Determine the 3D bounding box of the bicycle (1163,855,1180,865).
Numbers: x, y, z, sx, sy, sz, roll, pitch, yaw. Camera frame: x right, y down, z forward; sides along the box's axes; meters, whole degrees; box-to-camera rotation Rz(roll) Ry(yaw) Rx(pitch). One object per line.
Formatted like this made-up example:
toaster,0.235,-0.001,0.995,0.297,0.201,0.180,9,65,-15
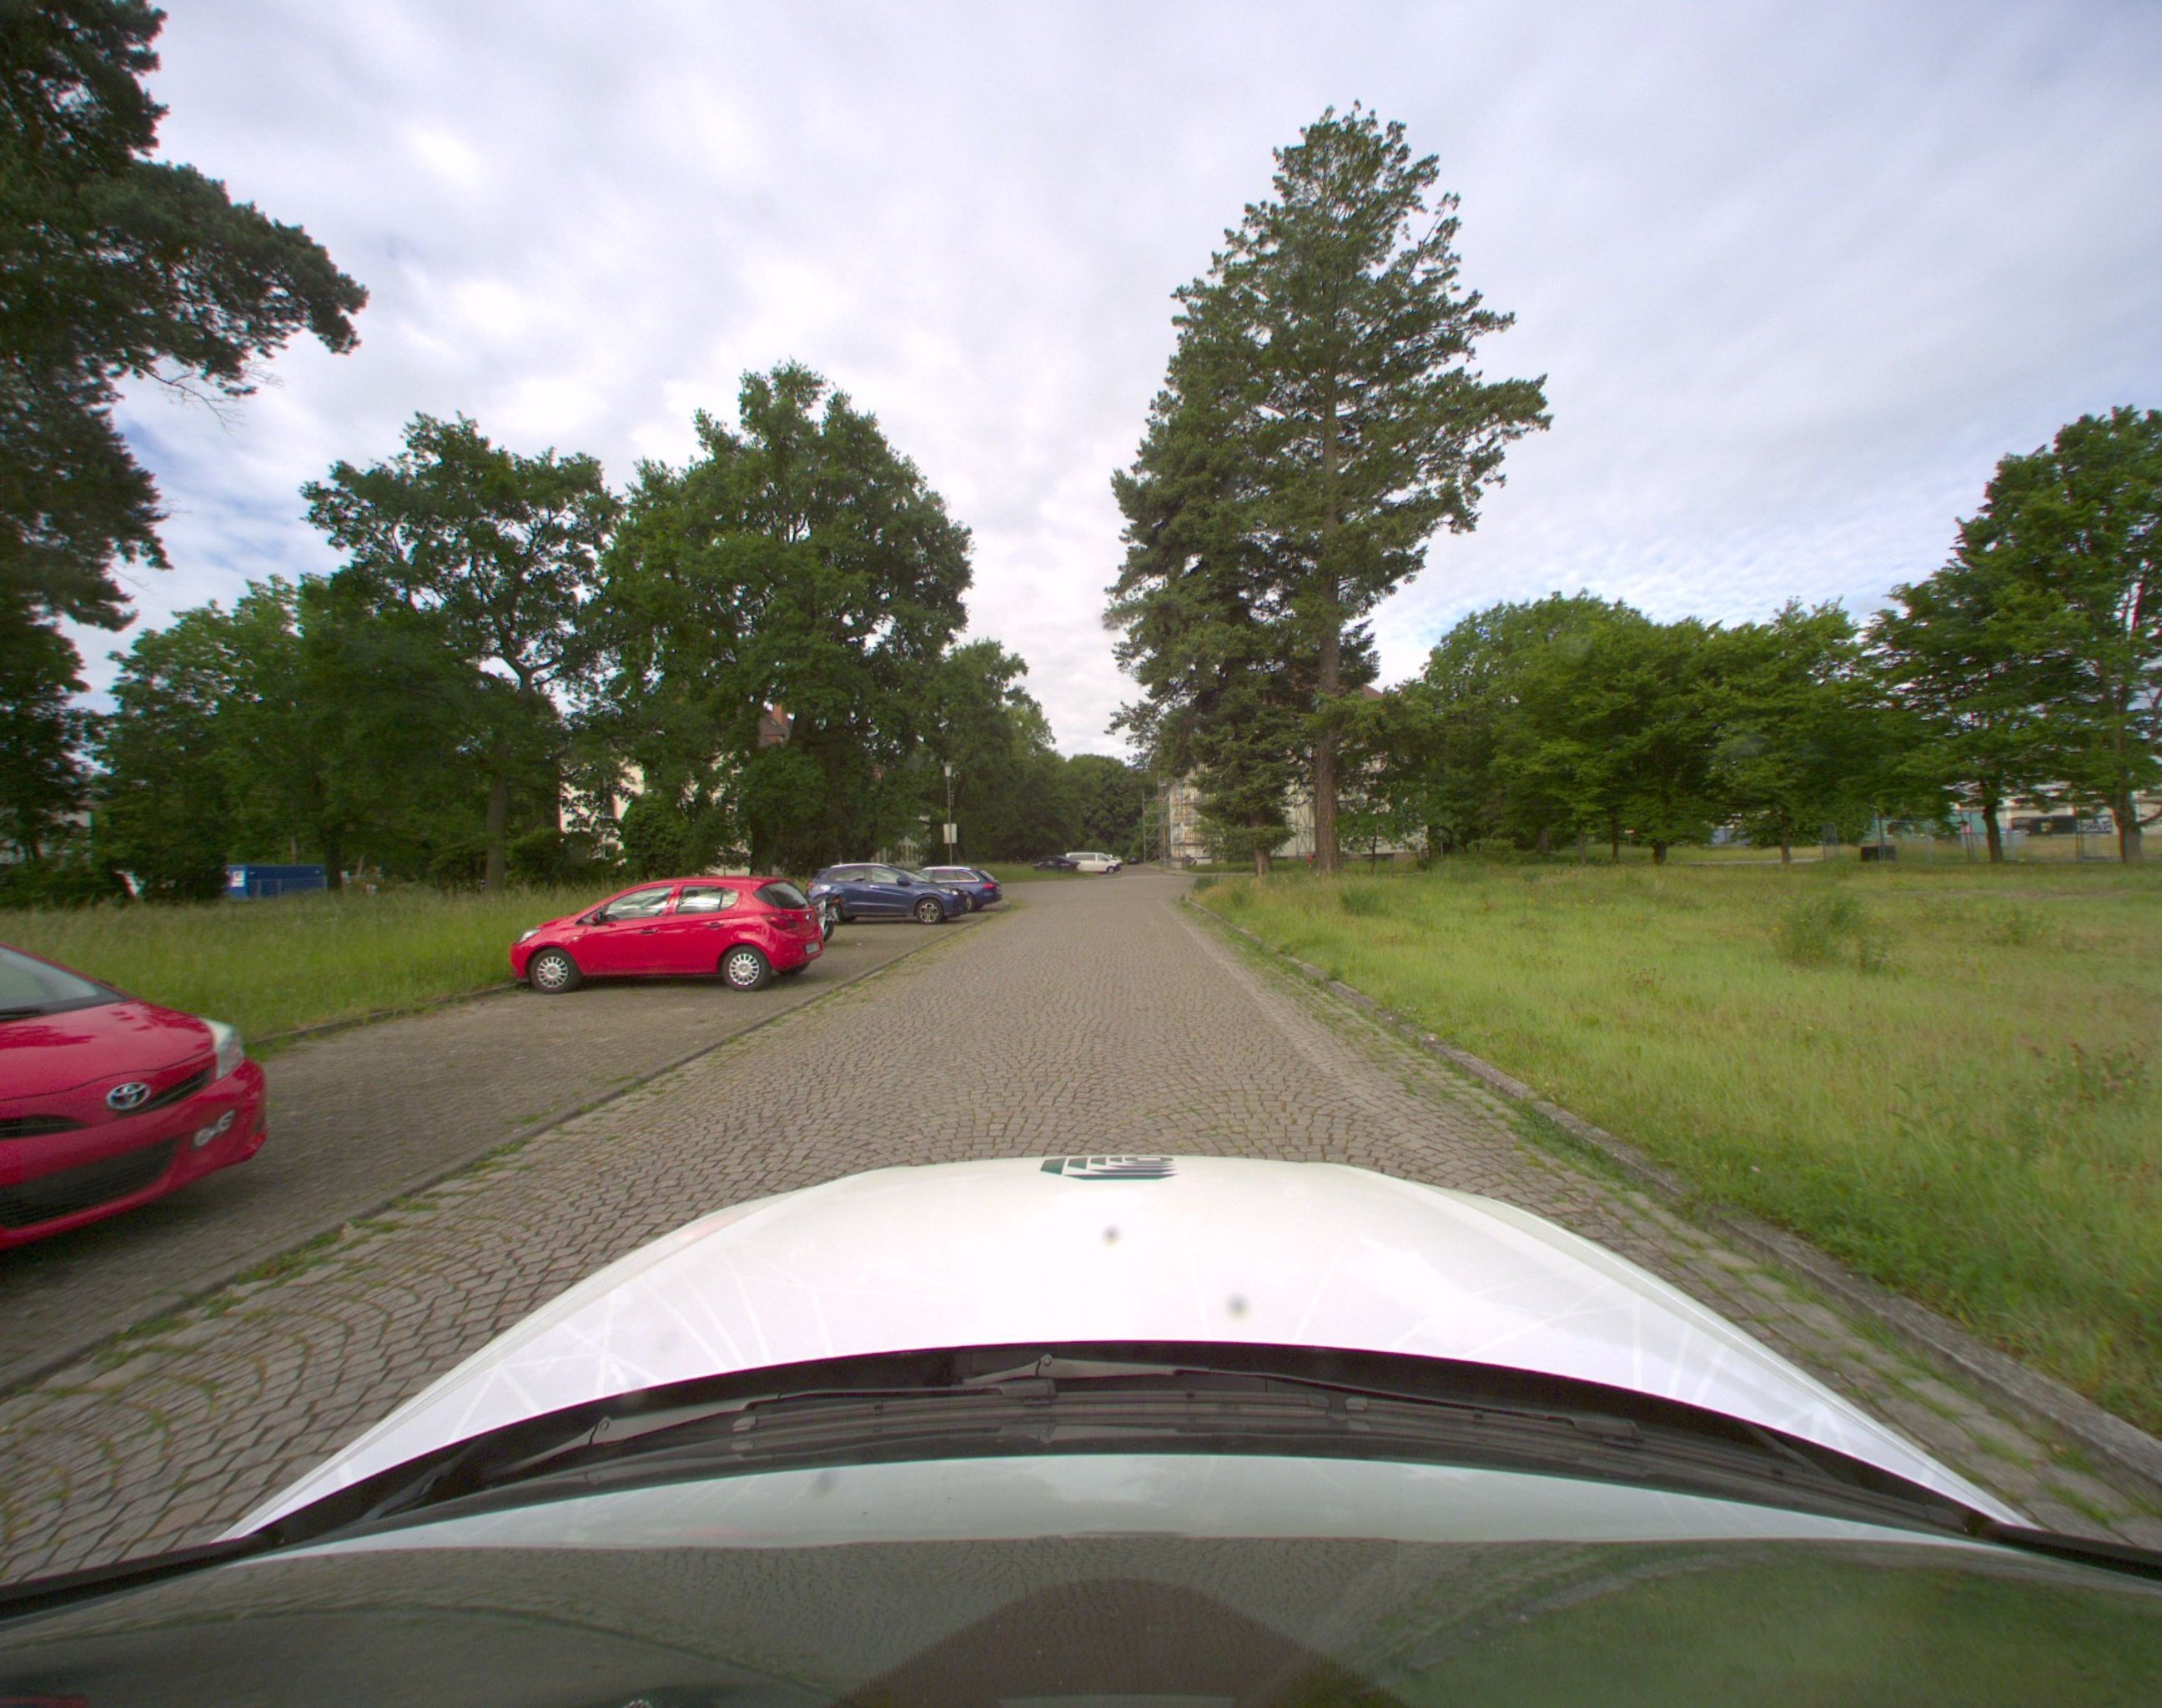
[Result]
bicycle,12.525,0.823,112.620,2.230,1.254,0.699,-2,-1,4

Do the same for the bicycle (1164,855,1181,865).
bicycle,12.439,0.808,111.164,2.230,1.254,0.627,-2,-1,4

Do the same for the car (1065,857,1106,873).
car,0.447,1.069,77.605,3.777,1.395,1.999,-2,0,-1

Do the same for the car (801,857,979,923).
car,-4.949,0.918,21.566,4.213,1.577,1.887,-1,0,0

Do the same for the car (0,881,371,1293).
car,-6.181,0.980,3.713,4.152,1.510,1.907,-2,0,0

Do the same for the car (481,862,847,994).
car,-5.589,0.957,11.335,4.041,1.525,1.905,-2,0,0

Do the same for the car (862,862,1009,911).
car,-4.602,1.016,26.289,4.284,1.461,1.977,-1,0,3

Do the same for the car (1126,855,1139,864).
car,8.926,0.959,141.118,1.944,1.522,4.000,-2,-1,1

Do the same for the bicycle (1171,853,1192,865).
bicycle,11.314,0.586,91.929,2.230,1.254,0.778,-2,-1,4

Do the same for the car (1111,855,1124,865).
car,6.248,1.064,140.899,2.111,1.522,4.001,-2,-1,1

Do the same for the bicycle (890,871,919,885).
bicycle,-12.960,1.755,59.840,1.957,0.989,0.625,-2,-1,-9

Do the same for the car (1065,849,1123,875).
car,1.188,0.718,74.990,5.218,2.168,1.999,-2,0,-1

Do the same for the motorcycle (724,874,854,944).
motorcycle,-5.647,1.047,15.816,2.265,1.291,0.719,-1,0,2

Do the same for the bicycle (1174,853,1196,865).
bicycle,11.191,0.532,87.672,2.230,1.254,0.778,-2,-1,4
